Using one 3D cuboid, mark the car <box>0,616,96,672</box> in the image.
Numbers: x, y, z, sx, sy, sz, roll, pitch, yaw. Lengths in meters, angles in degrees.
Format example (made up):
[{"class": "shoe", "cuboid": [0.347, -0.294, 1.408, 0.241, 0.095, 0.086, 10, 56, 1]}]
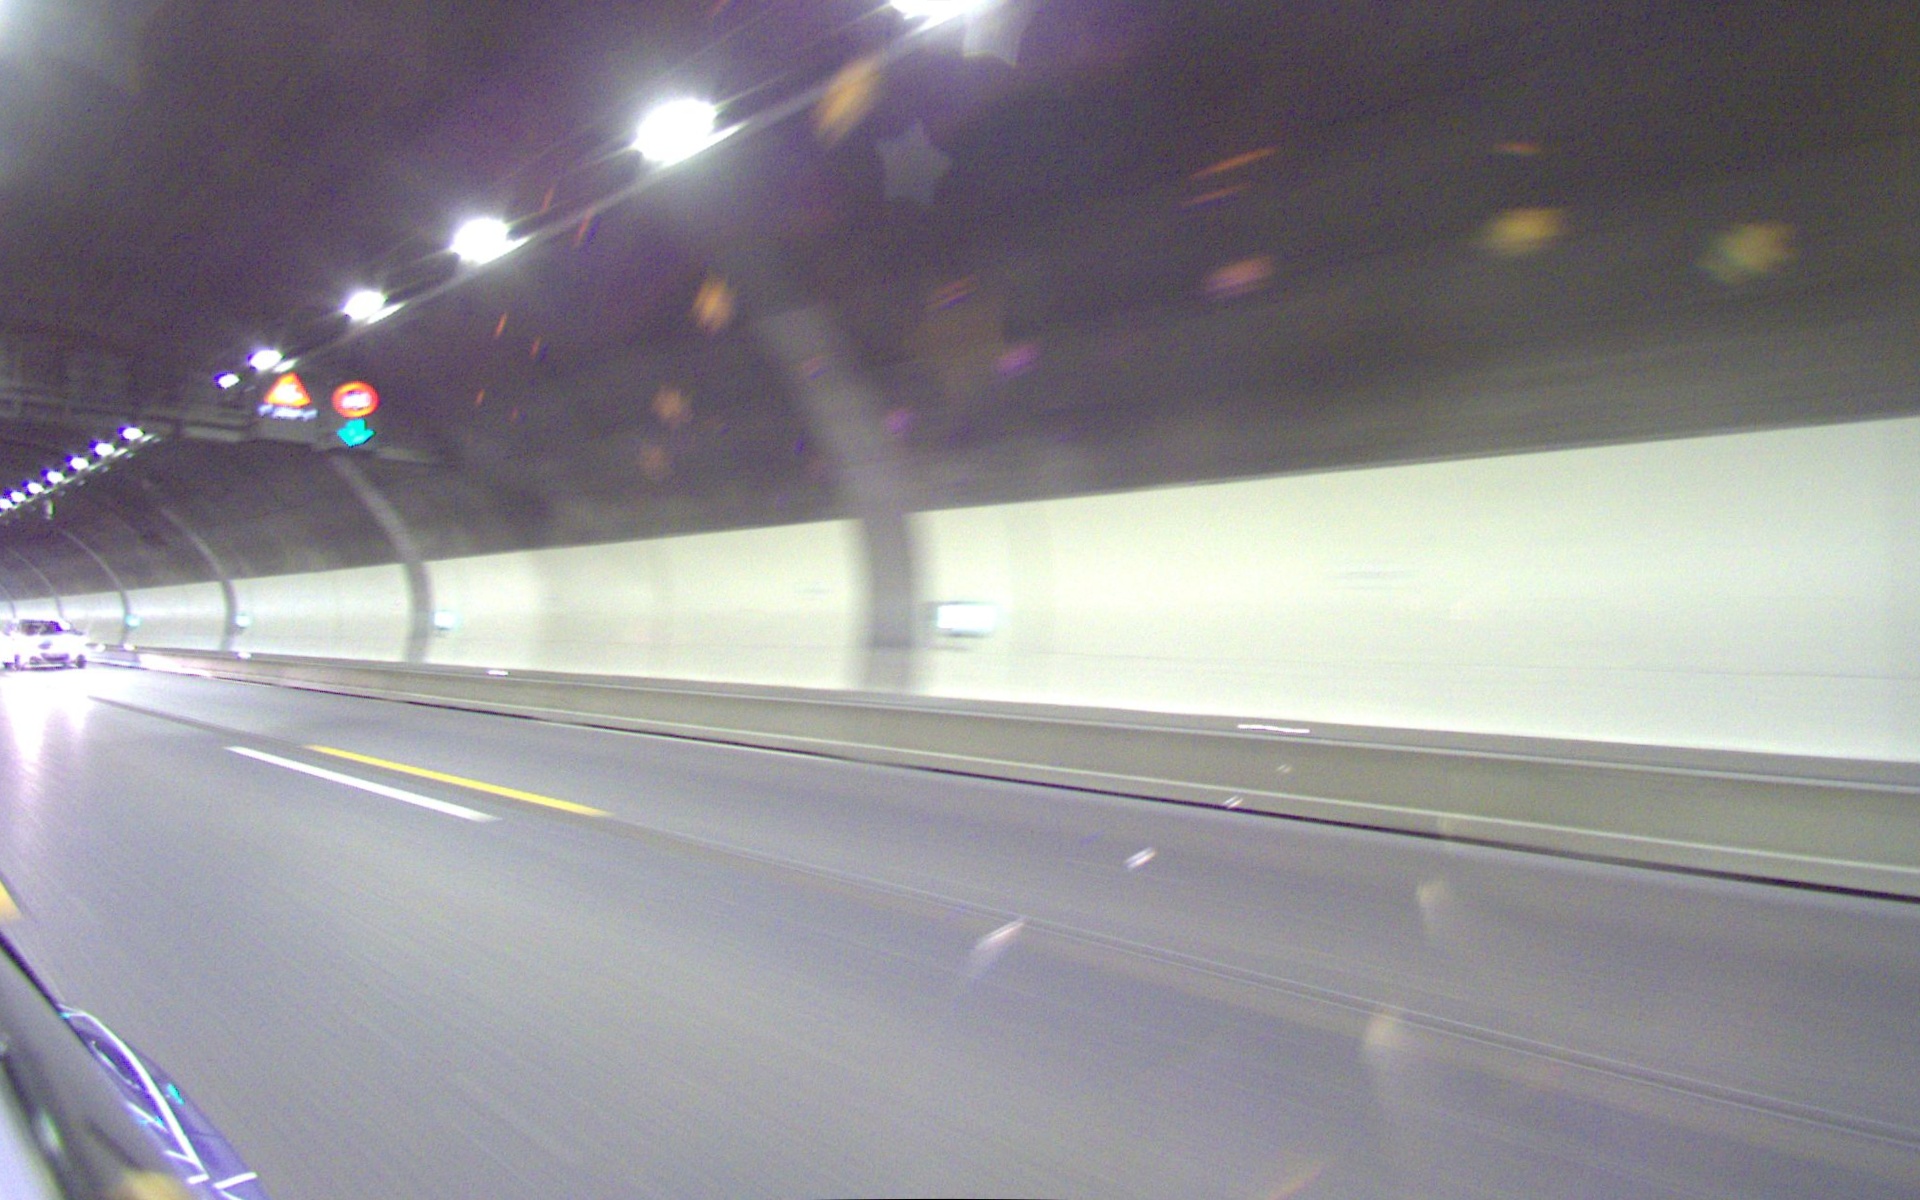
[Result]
[{"class": "car", "cuboid": [-28.402, 1.310, 31.363, 4.093, 1.584, 1.745, -1, -1, 39]}]
